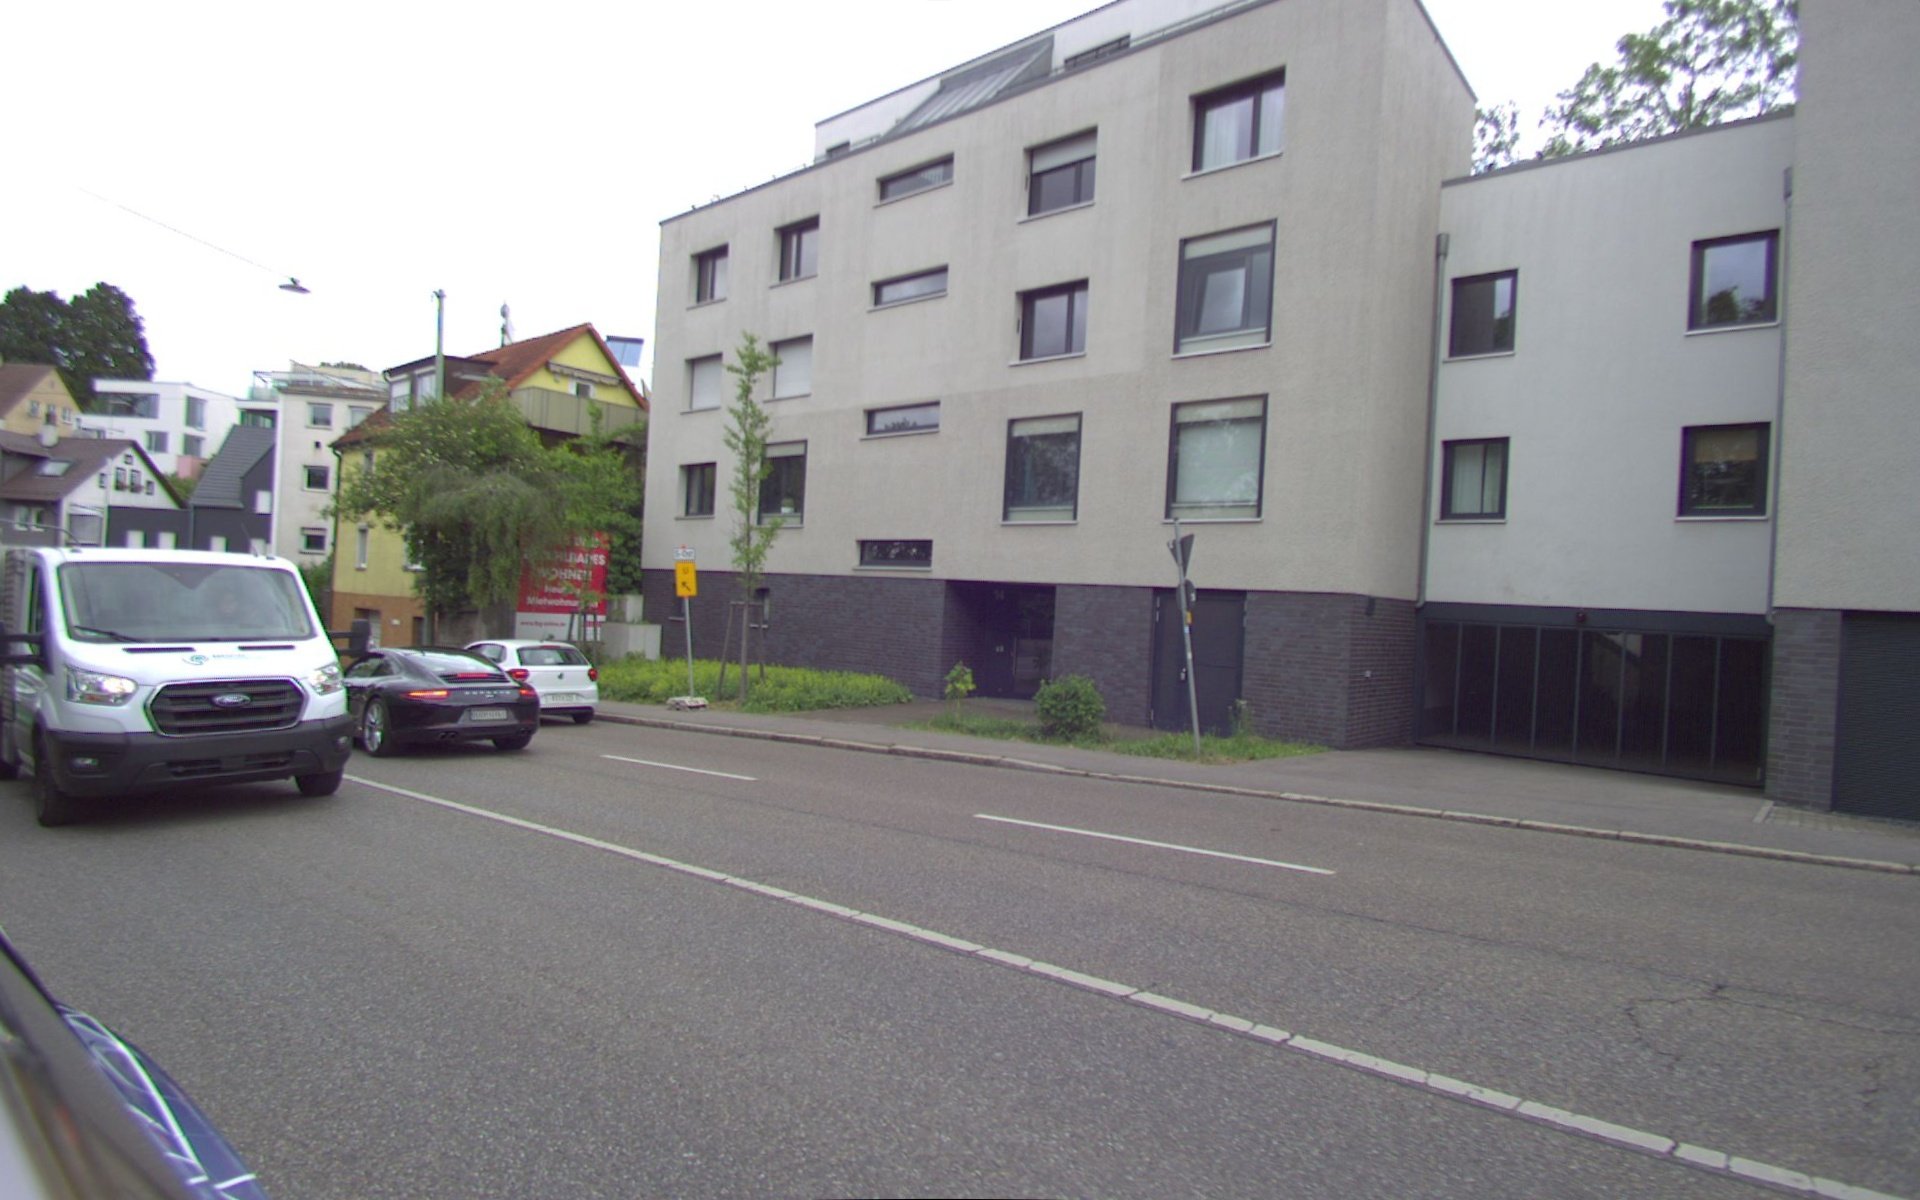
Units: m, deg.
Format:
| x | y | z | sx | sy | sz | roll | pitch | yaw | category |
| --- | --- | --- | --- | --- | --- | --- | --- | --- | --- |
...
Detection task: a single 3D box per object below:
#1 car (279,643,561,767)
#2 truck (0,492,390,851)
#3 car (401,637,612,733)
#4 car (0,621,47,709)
| x | y | z | sx | sy | sz | roll | pitch | yaw | category |
| --- | --- | --- | --- | --- | --- | --- | --- | --- | --- |
| -6.929 | 1.222 | 12.814 | 4.189 | 1.279 | 1.735 | -1 | -4 | 41 | car |
| -7.745 | 0.535 | 9.376 | 6.323 | 2.339 | 2.055 | -1 | -2 | 38 | truck |
| -8.042 | 1.415 | 17.784 | 4.189 | 1.475 | 1.755 | -1 | -4 | 41 | car |
| -19.186 | 1.211 | 19.391 | 4.396 | 1.492 | 1.892 | 0 | 1 | 40 | car |
